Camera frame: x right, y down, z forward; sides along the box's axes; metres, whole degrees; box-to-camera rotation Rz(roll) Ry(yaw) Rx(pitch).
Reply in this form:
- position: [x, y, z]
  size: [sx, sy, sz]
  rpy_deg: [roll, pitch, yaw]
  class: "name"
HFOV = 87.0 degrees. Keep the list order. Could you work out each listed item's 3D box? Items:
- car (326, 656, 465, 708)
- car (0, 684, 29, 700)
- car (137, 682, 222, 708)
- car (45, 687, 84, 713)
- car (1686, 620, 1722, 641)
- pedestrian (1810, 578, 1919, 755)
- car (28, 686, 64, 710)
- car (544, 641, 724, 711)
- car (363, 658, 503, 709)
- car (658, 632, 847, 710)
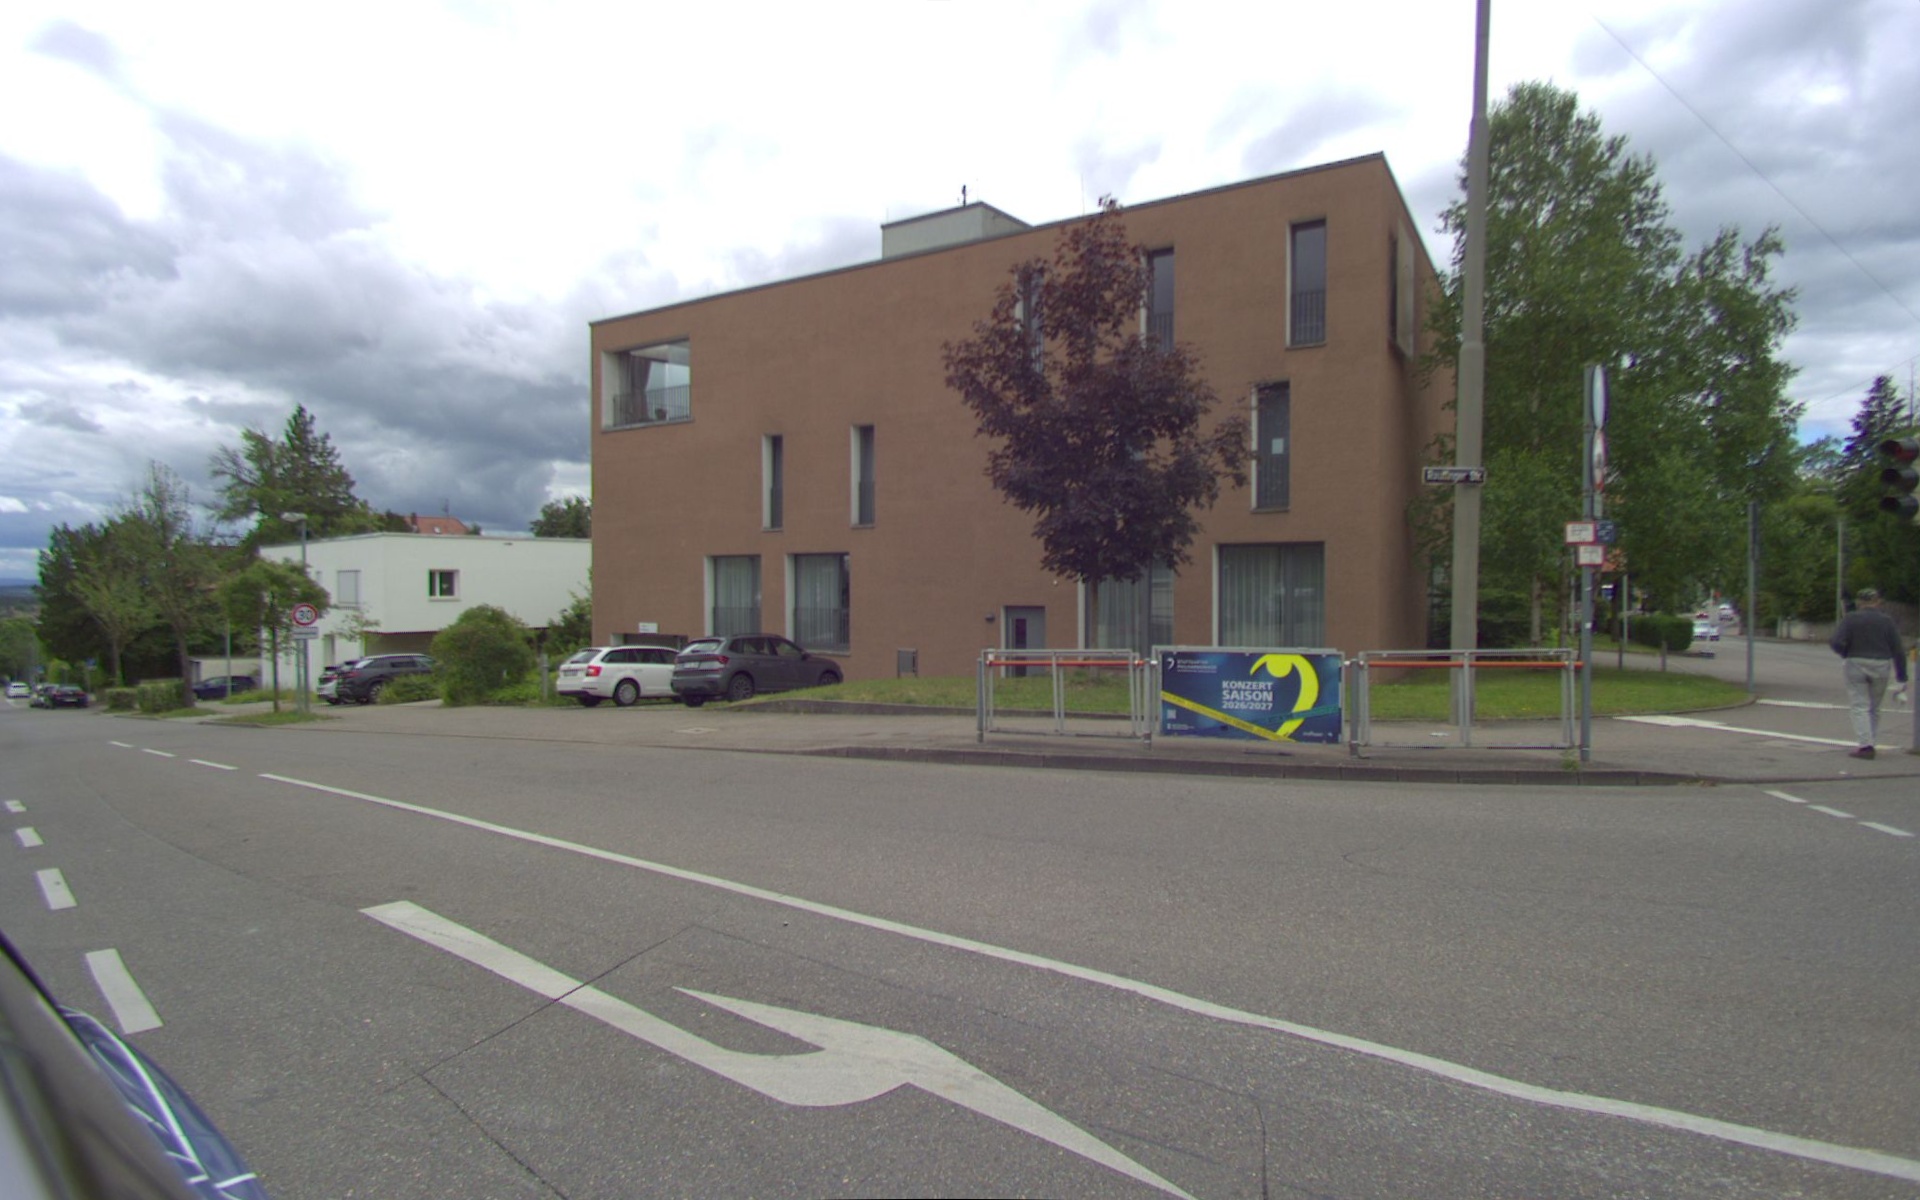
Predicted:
- position: [-19.980, 2.886, 35.927]
  size: [1.793, 1.608, 3.943]
  rpy_deg: [-6, -4, 43]
  class: "car"
- position: [-95.916, 9.267, 102.342]
  size: [4.362, 1.432, 1.861]
  rpy_deg: [-3, -3, 38]
  class: "car"
- position: [-46.979, 5.718, 60.926]
  size: [3.939, 1.296, 1.665]
  rpy_deg: [0, -4, -43]
  class: "car"
- position: [-54.941, 6.149, 62.059]
  size: [1.638, 1.432, 4.003]
  rpy_deg: [0, -4, -44]
  class: "car"
- position: [55.241, 2.243, 75.232]
  size: [1.703, 1.424, 4.379]
  rpy_deg: [-2, -1, 31]
  class: "car"
- position: [8.931, 0.636, 9.865]
  size: [0.677, 1.646, 0.736]
  rpy_deg: [-1, -2, 16]
  class: "pedestrian"
- position: [-61.564, 6.606, 68.138]
  size: [1.638, 1.432, 4.371]
  rpy_deg: [0, -4, -44]
  class: "car"
- position: [-8.002, 1.850, 25.115]
  size: [1.724, 1.497, 3.950]
  rpy_deg: [-5, -4, 37]
  class: "car"
- position: [-18.237, 2.866, 35.142]
  size: [1.727, 1.497, 3.943]
  rpy_deg: [-6, -4, 43]
  class: "car"
- position: [-4.528, 1.541, 22.532]
  size: [1.724, 1.497, 3.950]
  rpy_deg: [-5, -4, 37]
  class: "car"
